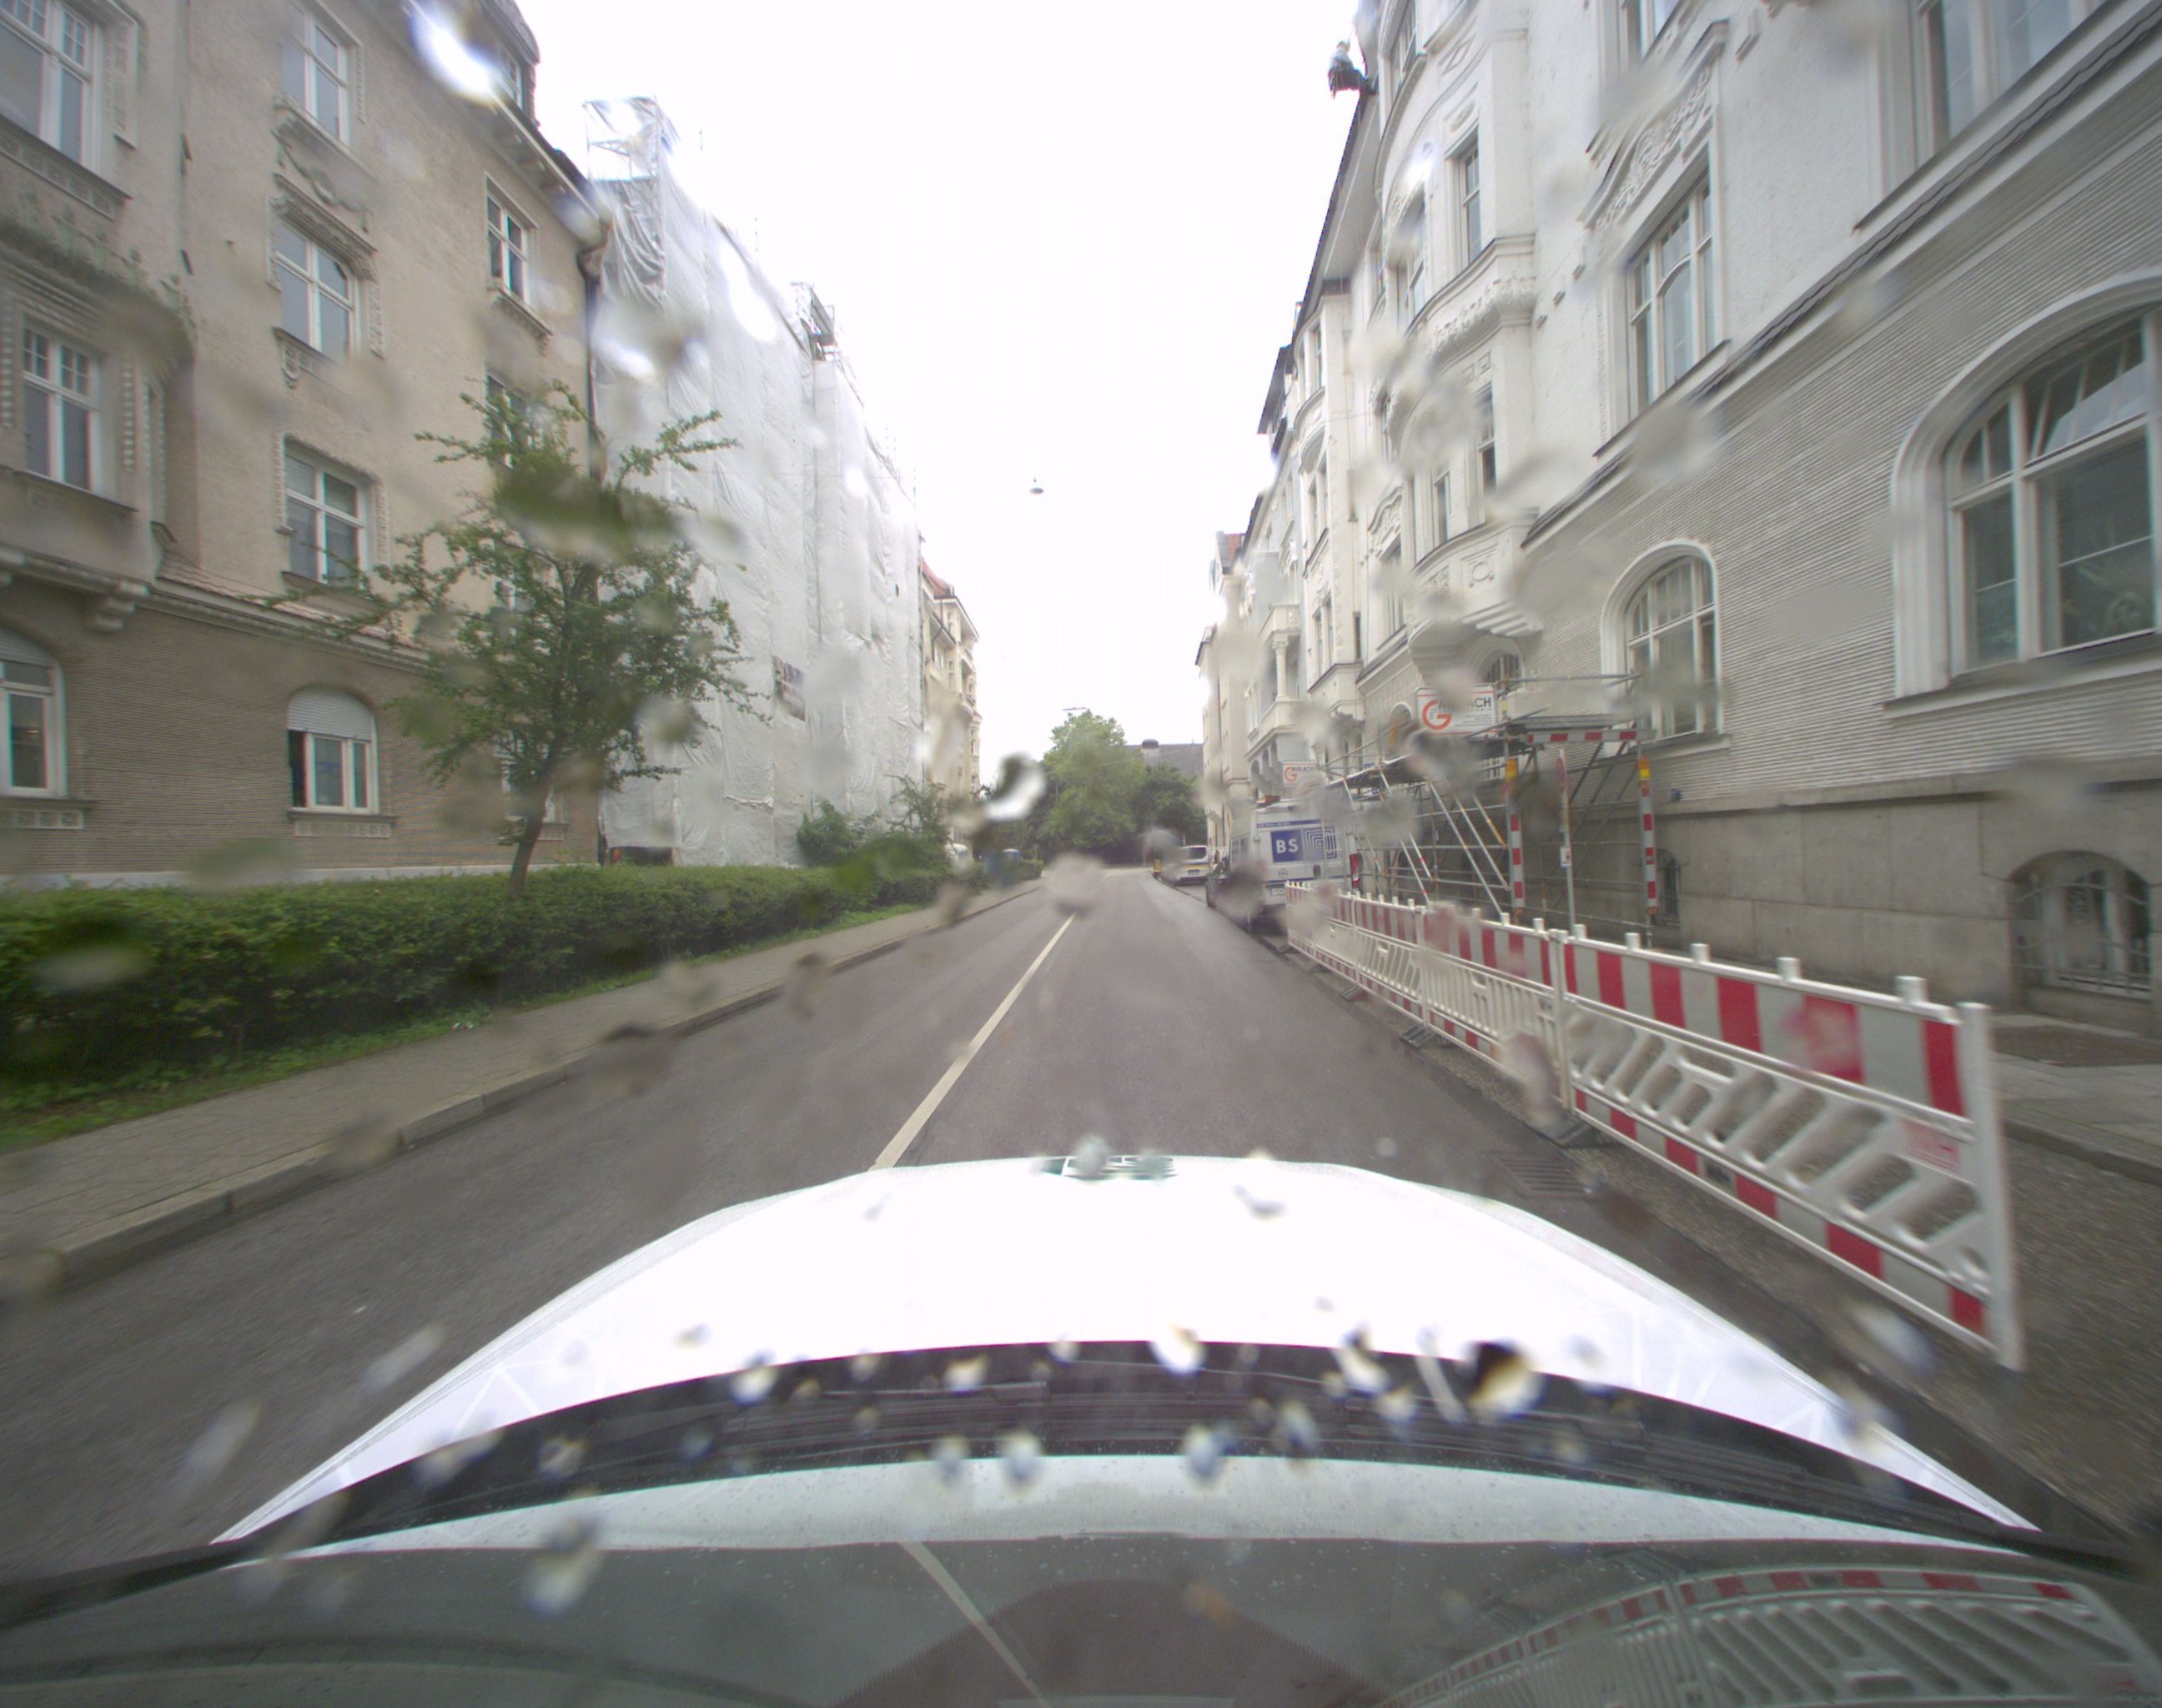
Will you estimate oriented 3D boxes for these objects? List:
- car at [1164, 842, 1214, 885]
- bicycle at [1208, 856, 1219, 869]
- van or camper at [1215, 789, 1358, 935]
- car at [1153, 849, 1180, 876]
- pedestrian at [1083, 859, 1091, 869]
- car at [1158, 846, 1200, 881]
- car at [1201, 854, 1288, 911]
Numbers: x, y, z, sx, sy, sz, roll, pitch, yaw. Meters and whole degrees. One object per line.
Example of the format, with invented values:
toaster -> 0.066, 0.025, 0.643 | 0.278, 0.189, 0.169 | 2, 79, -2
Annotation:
car -> 5.573, 0.484, 42.509 | 1.952, 2.013, 4.994 | -2, 0, 1
bicycle -> 12.037, 0.778, 74.069 | 0.691, 1.094, 2.285 | -4, 0, 4
van or camper -> 4.262, 0.167, 17.864 | 1.945, 2.637, 5.463 | -2, 0, 3
car -> 6.277, 0.619, 59.892 | 1.841, 1.853, 4.828 | -2, 0, 6
pedestrian -> 0.698, 1.242, 101.257 | 0.807, 1.189, 0.922 | -2, -1, 9
car -> 5.806, 0.538, 48.628 | 1.952, 1.937, 4.994 | -2, 0, 1
car -> 4.618, 0.761, 23.550 | 1.747, 1.434, 4.089 | -2, 0, 2
